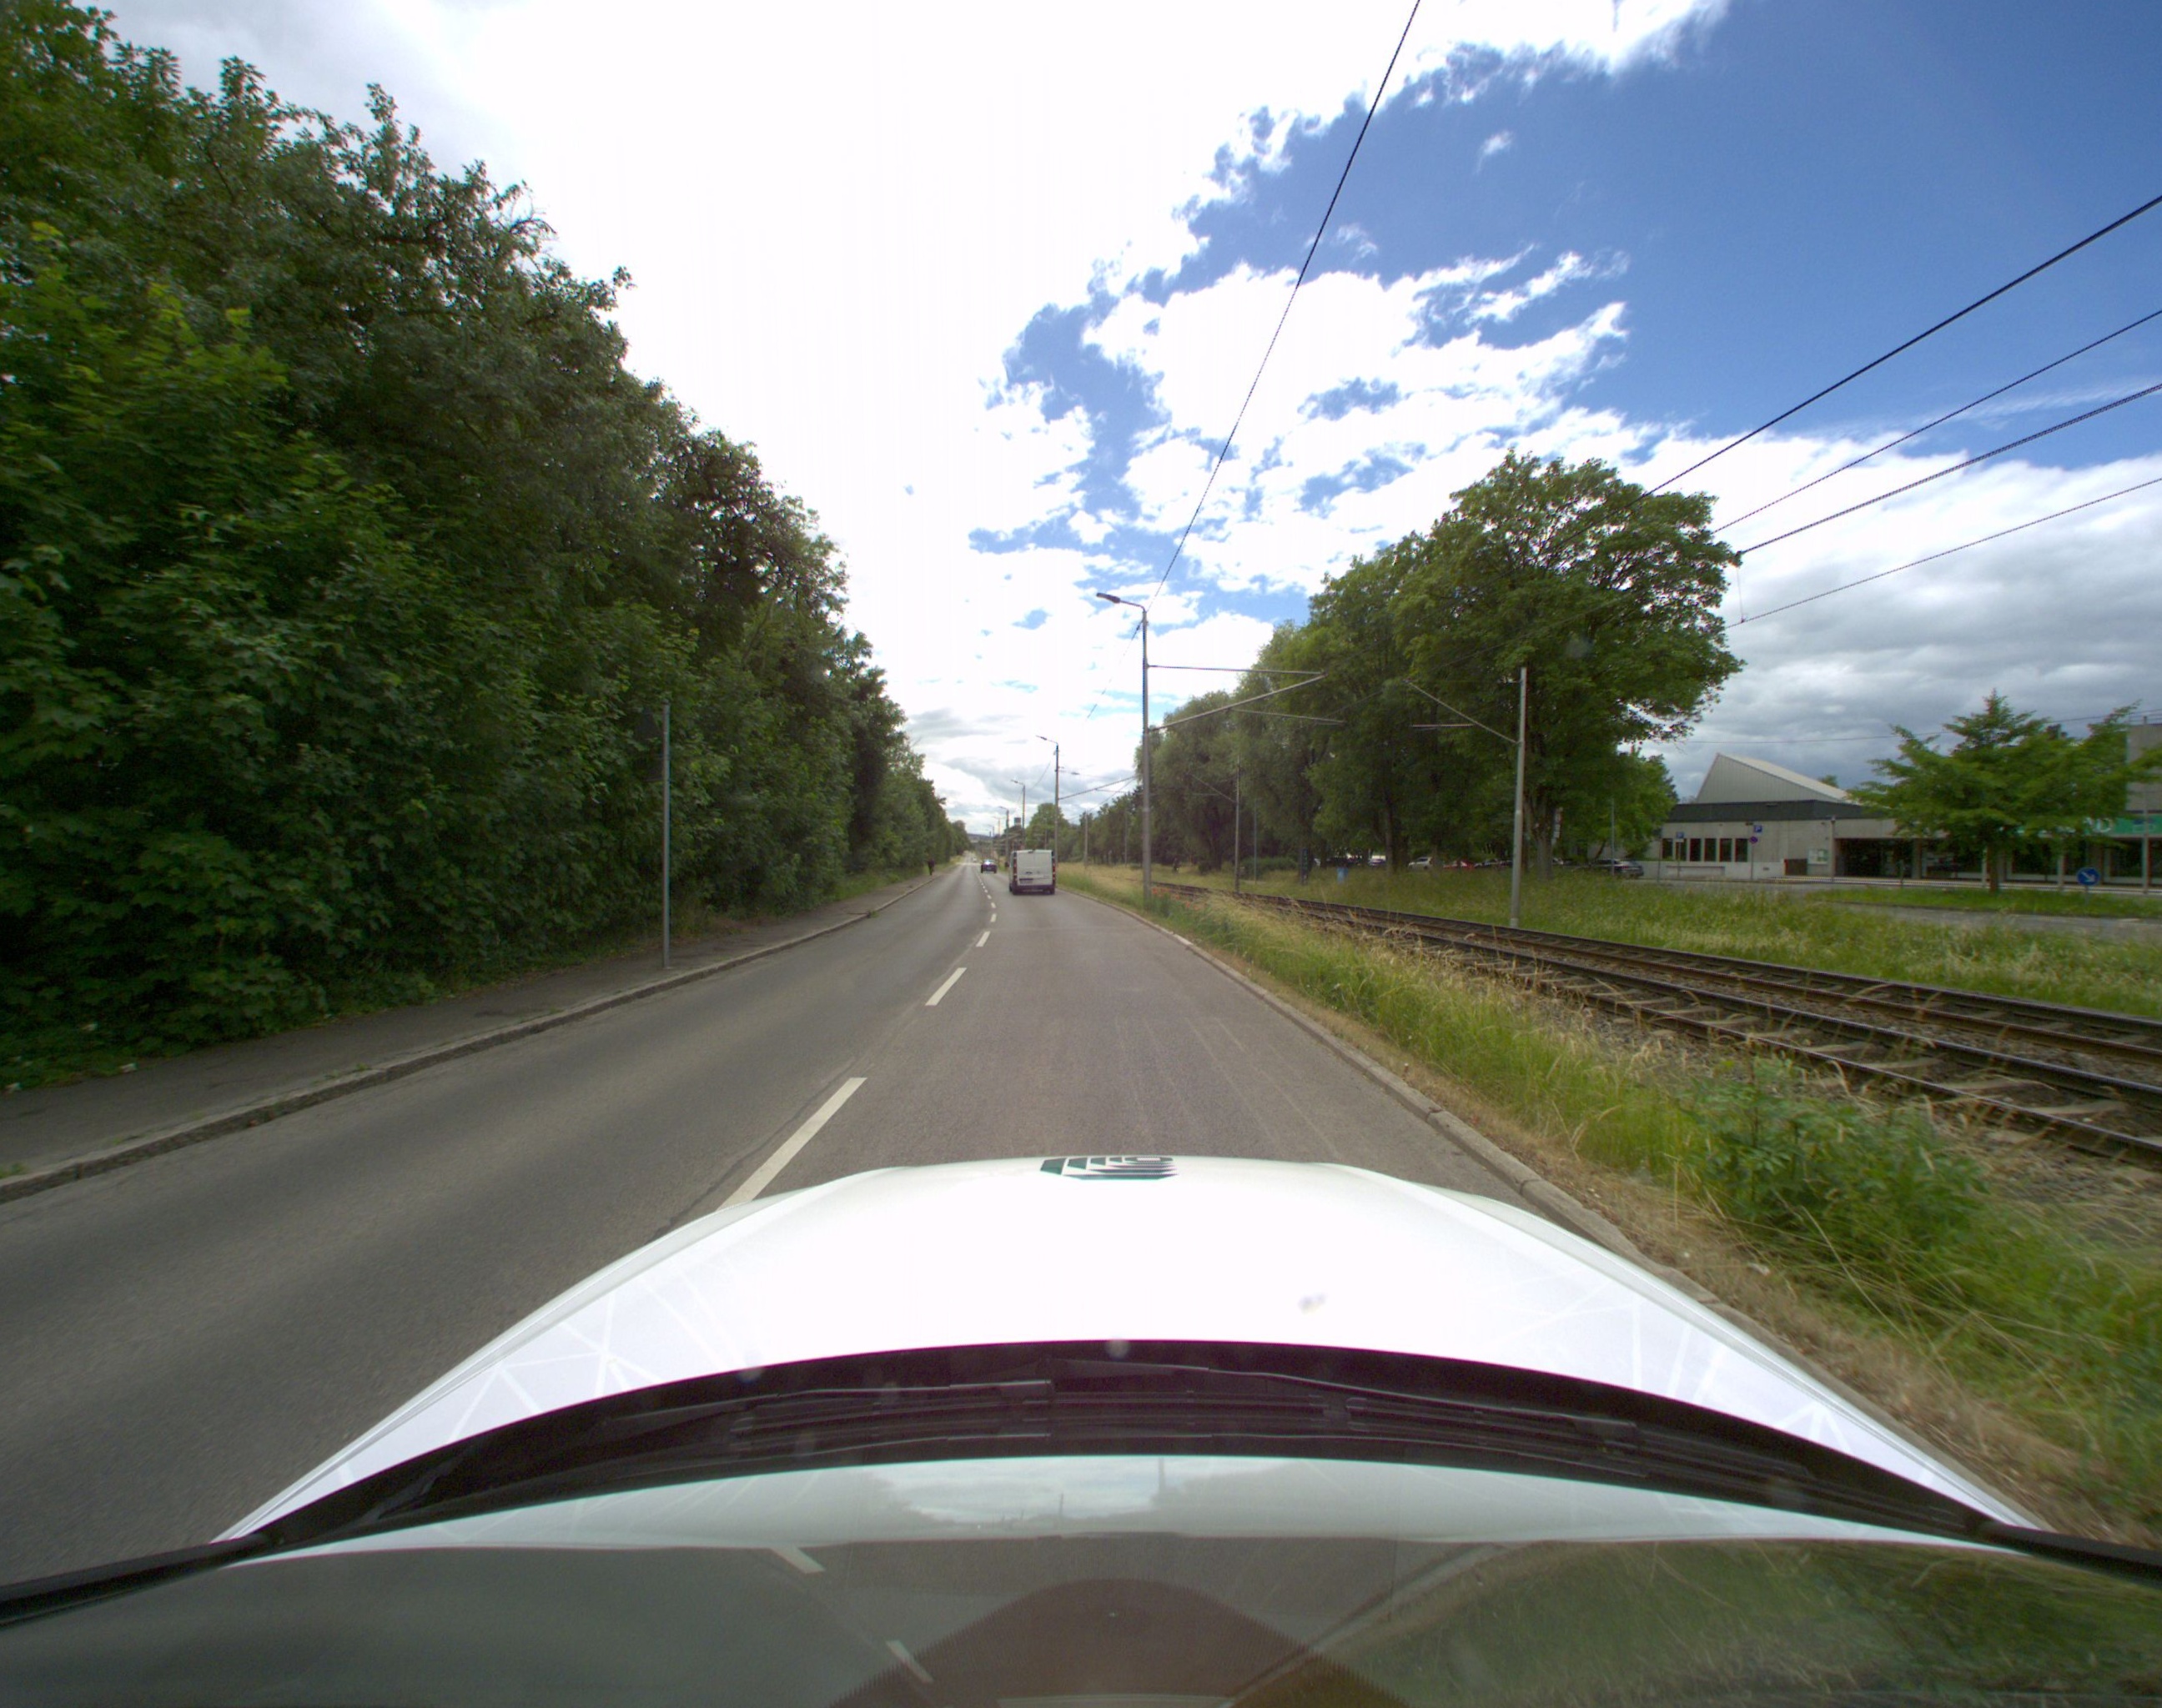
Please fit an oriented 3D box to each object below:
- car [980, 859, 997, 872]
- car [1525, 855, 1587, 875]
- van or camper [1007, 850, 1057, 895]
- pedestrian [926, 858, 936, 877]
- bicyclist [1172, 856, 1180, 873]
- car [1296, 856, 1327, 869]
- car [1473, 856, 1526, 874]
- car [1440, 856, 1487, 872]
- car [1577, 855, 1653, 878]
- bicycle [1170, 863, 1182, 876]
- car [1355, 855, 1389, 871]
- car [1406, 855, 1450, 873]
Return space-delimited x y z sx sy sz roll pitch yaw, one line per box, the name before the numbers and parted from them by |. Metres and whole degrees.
car | -11.359 1.377 99.668 1.992 1.593 3.989 -1 0 -8
car | 35.448 0.809 60.873 1.992 1.443 3.989 1 -1 -8
van or camper | -2.262 0.817 36.859 1.941 1.897 4.273 -1 -1 -8
pedestrian | -14.557 1.339 78.946 0.868 1.769 0.786 -2 0 -12
bicyclist | 9.482 1.020 81.267 0.581 1.696 0.932 1 -1 -11
car | 33.498 1.215 118.558 2.007 1.812 3.959 1 -1 -33
car | 34.491 0.875 67.286 1.992 1.443 3.989 1 -1 -8
car | 33.884 0.879 72.273 1.992 1.443 3.989 1 -1 -8
car | 36.239 0.831 55.378 1.992 1.443 4.334 1 -1 -8
bicycle | 9.468 1.542 81.381 0.581 1.246 1.922 0 0 -11
car | 31.702 0.974 88.775 1.991 1.700 3.992 1 -1 -6
car | 33.173 0.956 77.880 1.992 1.700 4.218 1 -1 -7
